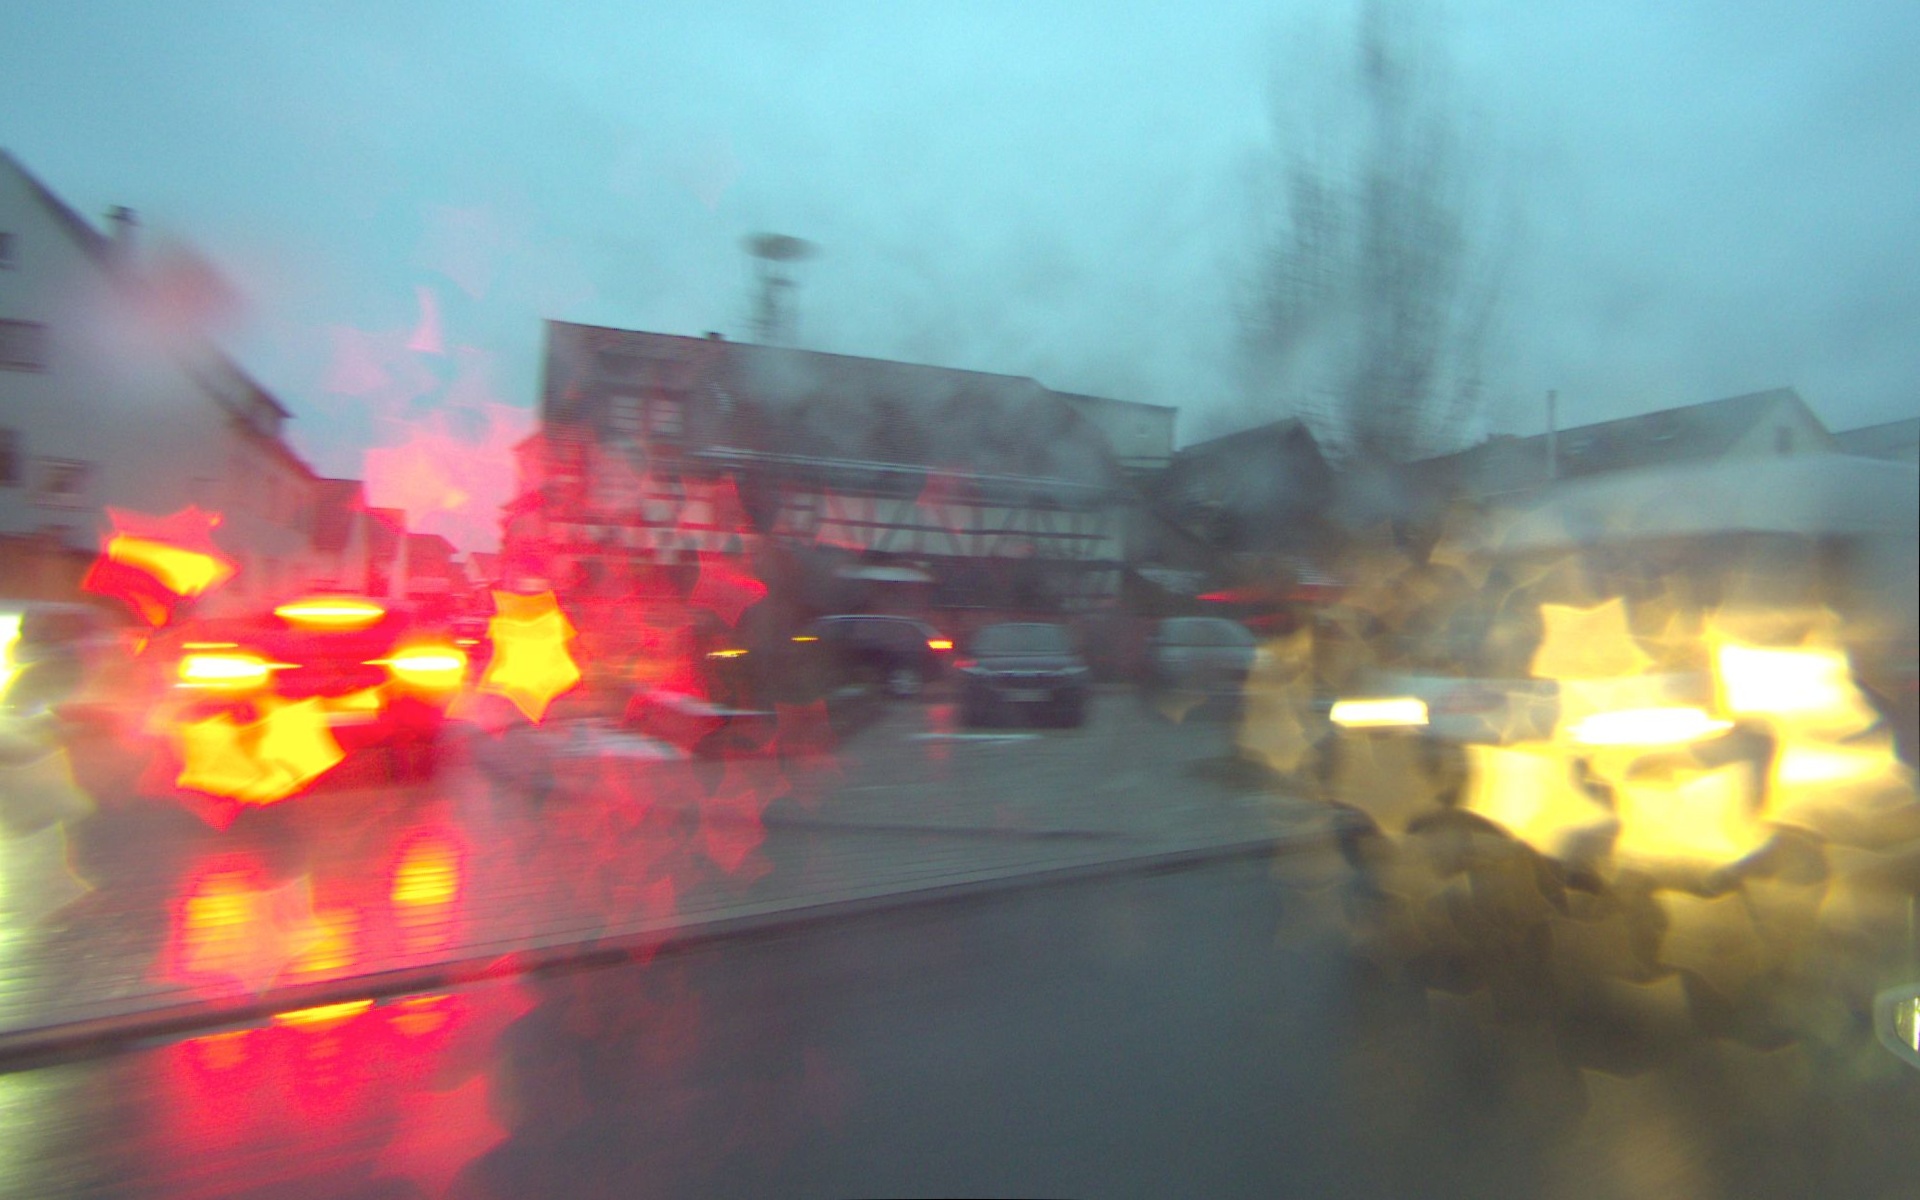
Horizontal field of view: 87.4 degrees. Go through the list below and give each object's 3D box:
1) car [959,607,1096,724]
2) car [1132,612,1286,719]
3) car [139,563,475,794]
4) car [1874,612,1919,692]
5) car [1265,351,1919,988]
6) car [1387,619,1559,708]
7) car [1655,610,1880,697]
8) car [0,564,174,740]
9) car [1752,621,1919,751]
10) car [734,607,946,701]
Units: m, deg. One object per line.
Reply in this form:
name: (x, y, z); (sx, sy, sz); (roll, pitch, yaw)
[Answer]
car: (1.029, 0.913, 14.746); (1.727, 1.478, 3.936); (-1, -2, 5)
car: (3.837, 0.979, 16.121); (1.722, 1.478, 4.076); (1, -2, 4)
car: (-5.995, 0.636, 9.660); (2.129, 1.654, 4.415); (2, -2, -29)
car: (23.748, 1.187, 22.898); (2.032, 1.910, 5.401); (-1, -3, 15)
car: (4.991, 0.341, 6.343); (6.062, 2.523, 2.187); (1, -2, -27)
car: (10.898, 1.302, 21.759); (1.947, 1.675, 4.660); (1, -2, 9)
car: (15.970, 1.009, 20.170); (1.959, 1.550, 4.003); (0, -1, 13)
car: (-10.611, 0.590, 10.839); (1.970, 1.657, 4.749); (0, -3, -20)
car: (13.034, 1.081, 13.735); (4.201, 1.554, 1.898); (1, -1, -27)
car: (-2.432, 1.061, 20.263); (3.940, 1.751, 1.712); (1, 0, -21)
